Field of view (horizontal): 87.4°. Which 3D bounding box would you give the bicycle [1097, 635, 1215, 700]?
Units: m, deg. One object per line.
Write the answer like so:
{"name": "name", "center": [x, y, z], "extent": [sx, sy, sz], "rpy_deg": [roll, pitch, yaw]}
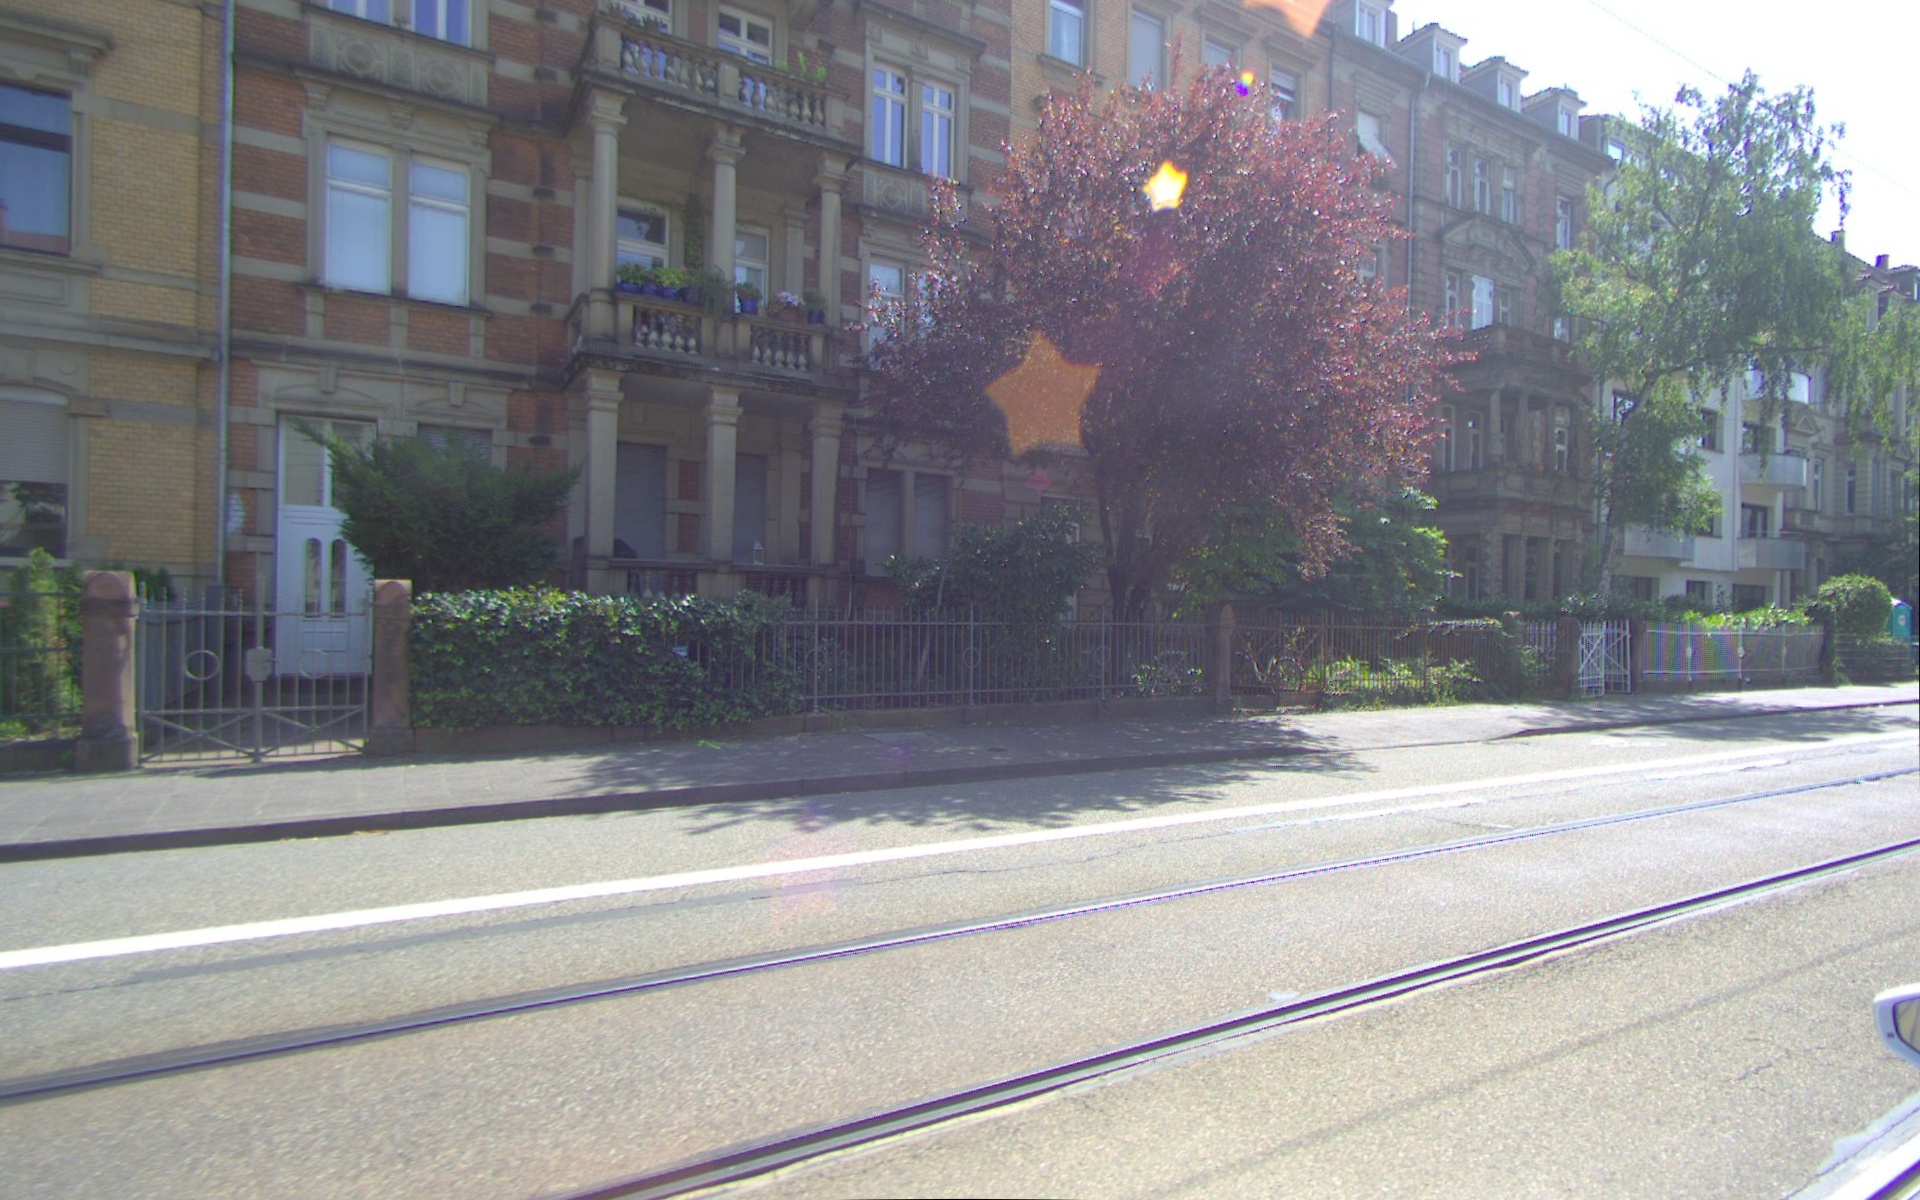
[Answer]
{"name": "bicycle", "center": [3.225, 1.093, 16.620], "extent": [1.791, 0.923, 0.713], "rpy_deg": [2, 0, 40]}

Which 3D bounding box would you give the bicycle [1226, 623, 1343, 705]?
{"name": "bicycle", "center": [5.263, 1.007, 16.404], "extent": [0.707, 1.198, 1.805], "rpy_deg": [2, 0, -28]}

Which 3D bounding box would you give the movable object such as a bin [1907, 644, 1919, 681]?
{"name": "movable object such as a bin", "center": [29.718, 1.932, 30.832], "extent": [0.746, 1.090, 0.782], "rpy_deg": [2, 0, -32]}

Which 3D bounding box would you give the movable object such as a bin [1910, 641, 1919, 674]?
{"name": "movable object such as a bin", "center": [32.249, 1.928, 33.372], "extent": [0.793, 1.090, 0.783], "rpy_deg": [2, 0, -28]}
